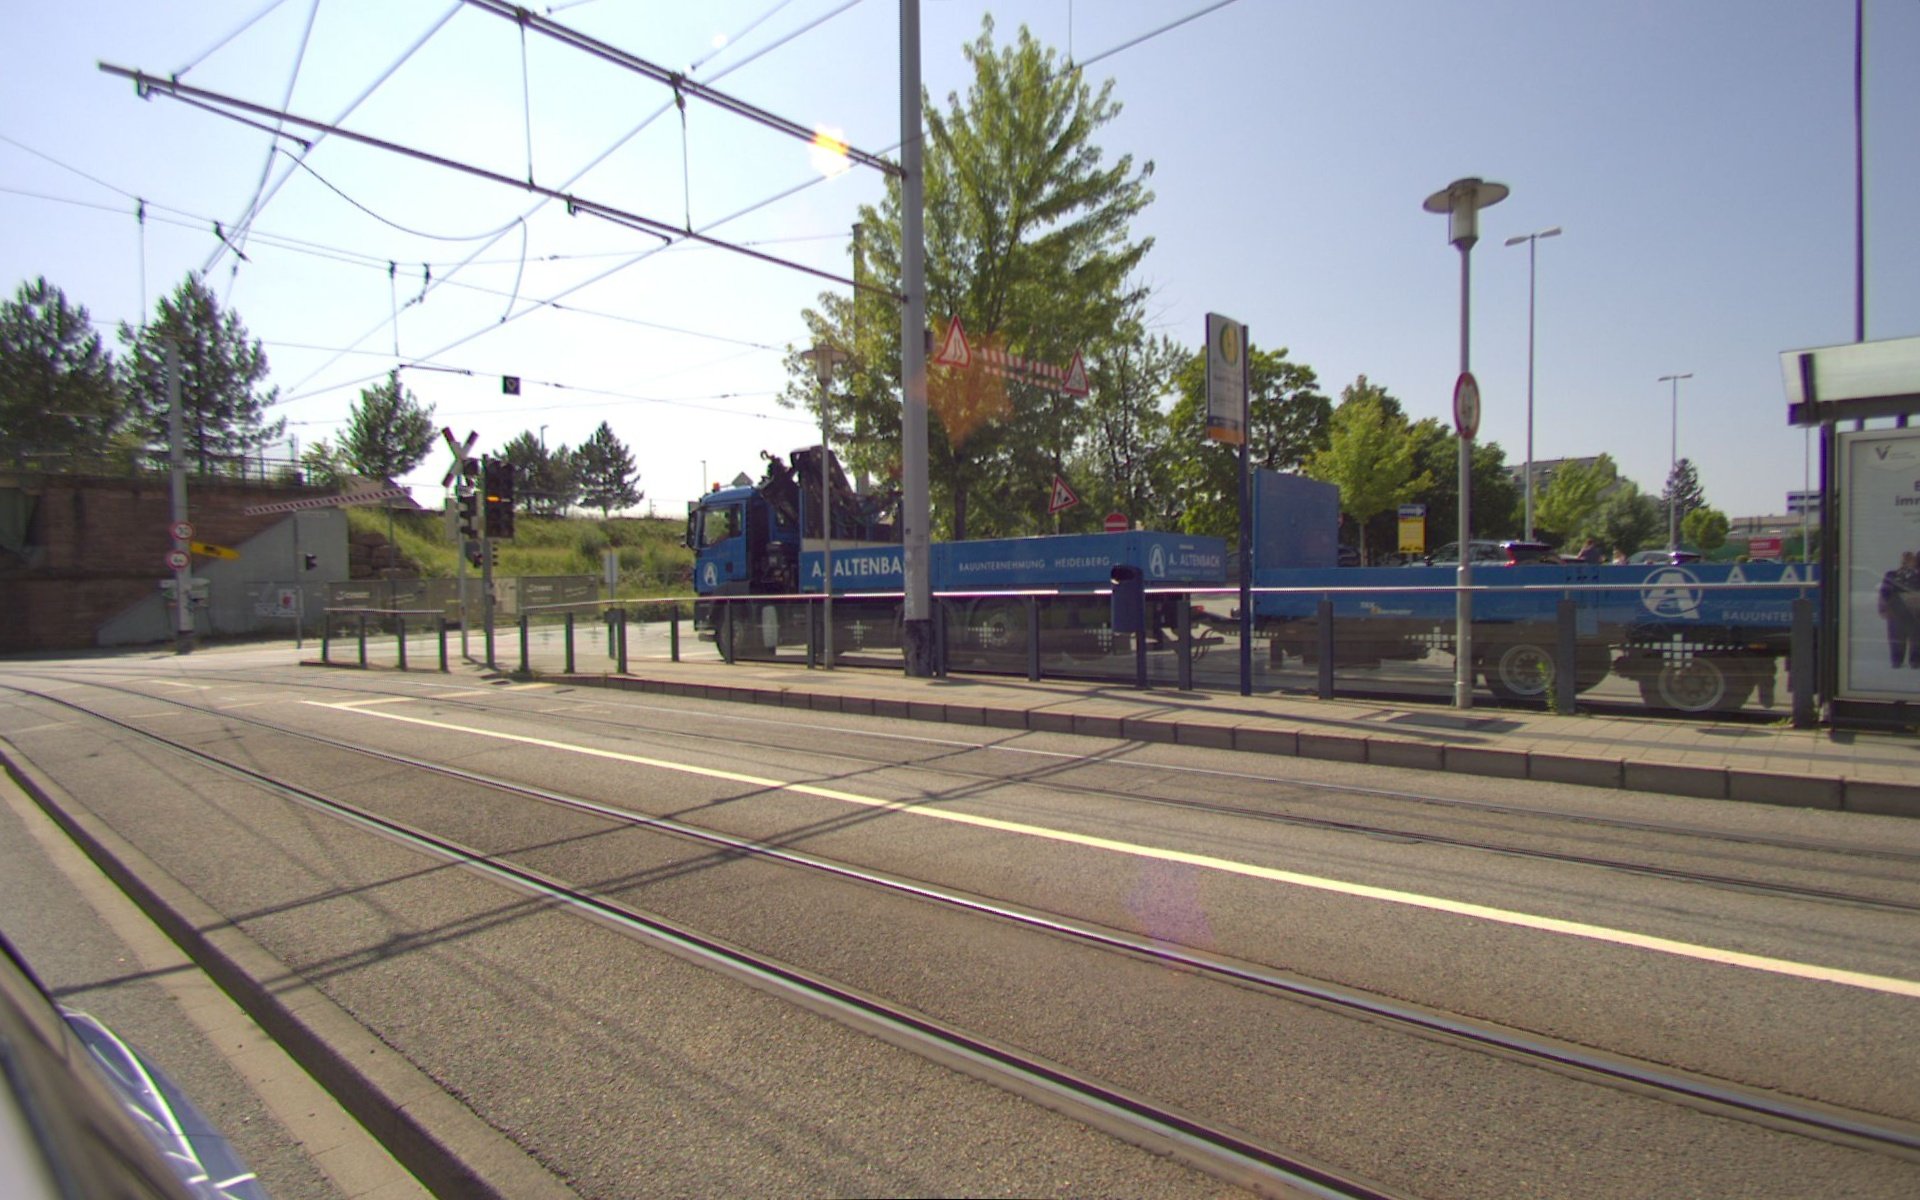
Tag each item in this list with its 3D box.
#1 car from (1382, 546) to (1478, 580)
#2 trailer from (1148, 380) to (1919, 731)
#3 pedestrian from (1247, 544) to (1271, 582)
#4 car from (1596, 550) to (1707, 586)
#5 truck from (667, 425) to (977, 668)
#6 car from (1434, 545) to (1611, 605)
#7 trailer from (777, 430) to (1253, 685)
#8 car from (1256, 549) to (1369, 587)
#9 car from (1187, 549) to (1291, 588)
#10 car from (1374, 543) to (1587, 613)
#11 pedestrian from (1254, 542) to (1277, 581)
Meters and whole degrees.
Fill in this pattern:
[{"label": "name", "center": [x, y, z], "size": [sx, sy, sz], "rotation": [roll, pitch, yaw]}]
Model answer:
[{"label": "car", "center": [27.457, -2.134, 59.259], "size": [4.668, 1.817, 1.992], "rotation": [-1, 0, 12]}, {"label": "trailer", "center": [6.012, -0.322, 10.489], "size": [7.595, 2.648, 2.768], "rotation": [-1, 0, 40]}, {"label": "pedestrian", "center": [12.645, -1.561, 42.793], "size": [0.743, 1.538, 0.566], "rotation": [-2, 1, -26]}, {"label": "car", "center": [30.531, -1.364, 44.821], "size": [1.696, 1.462, 4.245], "rotation": [-2, 1, -5]}, {"label": "truck", "center": [-2.534, -0.796, 17.856], "size": [5.037, 3.636, 2.715], "rotation": [-1, 0, 41]}, {"label": "car", "center": [15.650, -0.720, 28.531], "size": [1.889, 1.504, 4.876], "rotation": [-1, 2, -6]}, {"label": "trailer", "center": [0.534, -0.479, 15.194], "size": [6.894, 3.000, 2.715], "rotation": [-1, 0, 41]}, {"label": "car", "center": [16.788, -1.505, 48.448], "size": [4.763, 1.504, 1.847], "rotation": [-3, 0, 10]}, {"label": "car", "center": [11.520, -1.280, 41.768], "size": [3.962, 1.348, 1.706], "rotation": [-3, 0, 22]}, {"label": "car", "center": [13.234, -0.631, 26.218], "size": [2.151, 1.606, 5.128], "rotation": [0, 3, -11]}, {"label": "pedestrian", "center": [12.090, -1.523, 40.082], "size": [0.565, 1.538, 0.746], "rotation": [-1, 1, 44]}]
